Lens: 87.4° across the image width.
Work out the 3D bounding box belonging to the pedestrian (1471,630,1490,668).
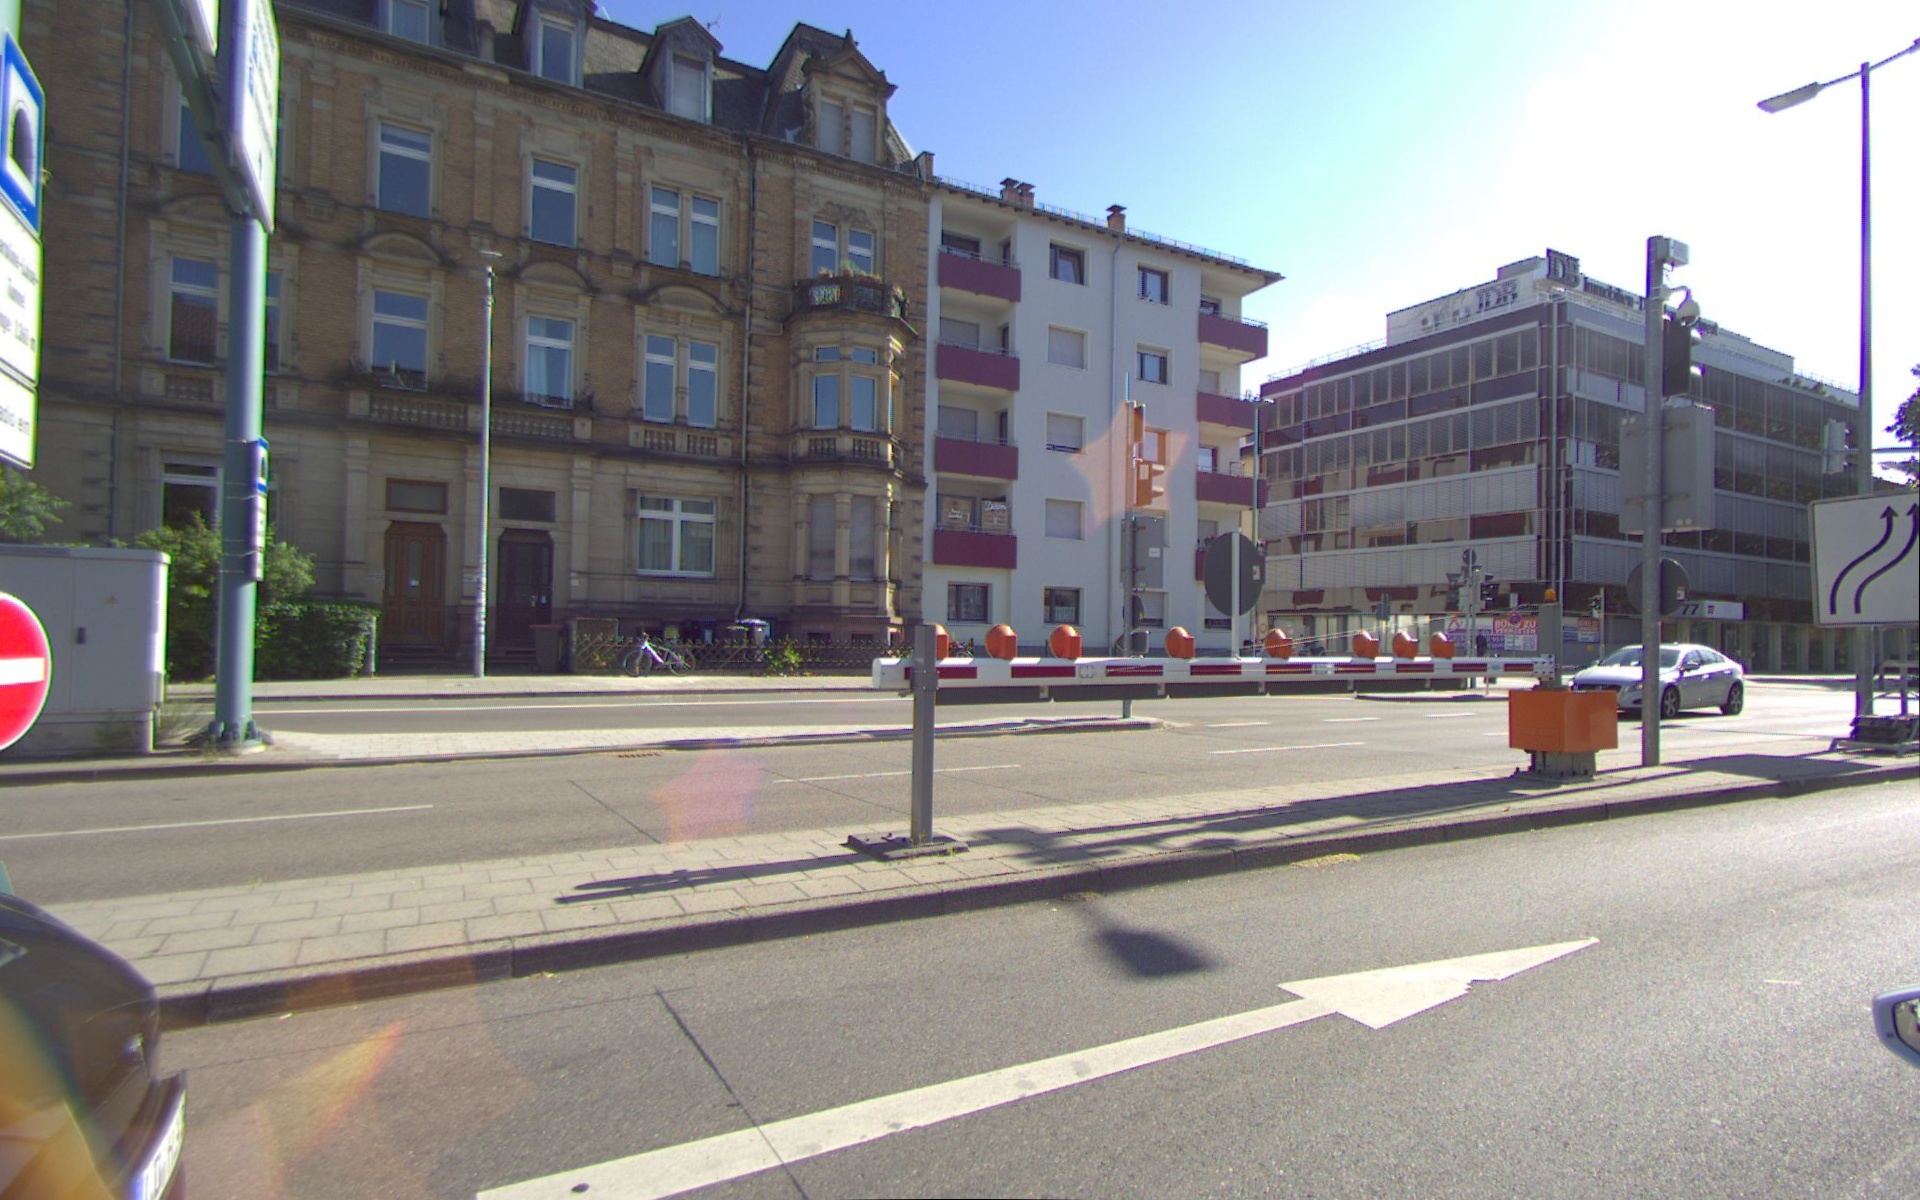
[{"bbox_3d":[23.435,2.192,45.224,0.688,1.680,0.745,1,-1,31],"label":"pedestrian"}]

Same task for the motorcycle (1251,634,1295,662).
[{"bbox_3d":[13.235,2.024,42.522,1.756,1.157,0.610,2,-1,-21],"label":"motorcycle"}]

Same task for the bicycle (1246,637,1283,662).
[{"bbox_3d":[13.695,2.206,45.115,1.714,1.082,0.487,2,-1,-27],"label":"bicycle"}]

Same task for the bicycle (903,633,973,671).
[{"bbox_3d":[-0.558,1.361,26.426,1.916,0.971,0.303,2,-1,-29],"label":"bicycle"}]

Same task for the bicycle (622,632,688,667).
[{"bbox_3d":[-6.917,1.124,22.819,1.396,0.781,0.297,2,-1,-29],"label":"bicycle"}]

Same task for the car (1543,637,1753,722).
[{"bbox_3d":[14.479,1.607,21.100,4.340,1.472,1.983,2,2,-31],"label":"car"}]

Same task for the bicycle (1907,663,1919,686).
[{"bbox_3d":[44.940,3.467,46.794,1.856,1.051,0.624,2,-1,-28],"label":"bicycle"}]

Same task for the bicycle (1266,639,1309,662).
[{"bbox_3d":[14.510,2.235,44.526,1.922,0.960,0.476,2,-1,-21],"label":"bicycle"}]

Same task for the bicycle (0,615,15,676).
[{"bbox_3d":[-17.278,0.755,16.683,2.224,1.018,0.464,1,0,-31],"label":"bicycle"}]

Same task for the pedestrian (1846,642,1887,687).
[{"bbox_3d":[35.606,2.520,39.455,0.997,1.733,0.863,2,-1,-22],"label":"pedestrian"}]

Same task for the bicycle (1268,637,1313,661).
[{"bbox_3d":[14.427,2.158,43.835,1.852,0.991,0.507,2,-1,-13],"label":"bicycle"}]

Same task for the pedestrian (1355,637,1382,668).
[{"bbox_3d":[16.077,2.071,39.548,0.783,1.168,0.711,3,-1,-41],"label":"pedestrian"}]

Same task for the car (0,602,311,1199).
[{"bbox_3d":[-3.406,0.671,0.941,4.573,1.430,1.915,2,-1,-31],"label":"car"}]

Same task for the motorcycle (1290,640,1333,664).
[{"bbox_3d":[14.743,2.174,42.133,1.815,0.948,0.502,2,-1,-22],"label":"motorcycle"}]
